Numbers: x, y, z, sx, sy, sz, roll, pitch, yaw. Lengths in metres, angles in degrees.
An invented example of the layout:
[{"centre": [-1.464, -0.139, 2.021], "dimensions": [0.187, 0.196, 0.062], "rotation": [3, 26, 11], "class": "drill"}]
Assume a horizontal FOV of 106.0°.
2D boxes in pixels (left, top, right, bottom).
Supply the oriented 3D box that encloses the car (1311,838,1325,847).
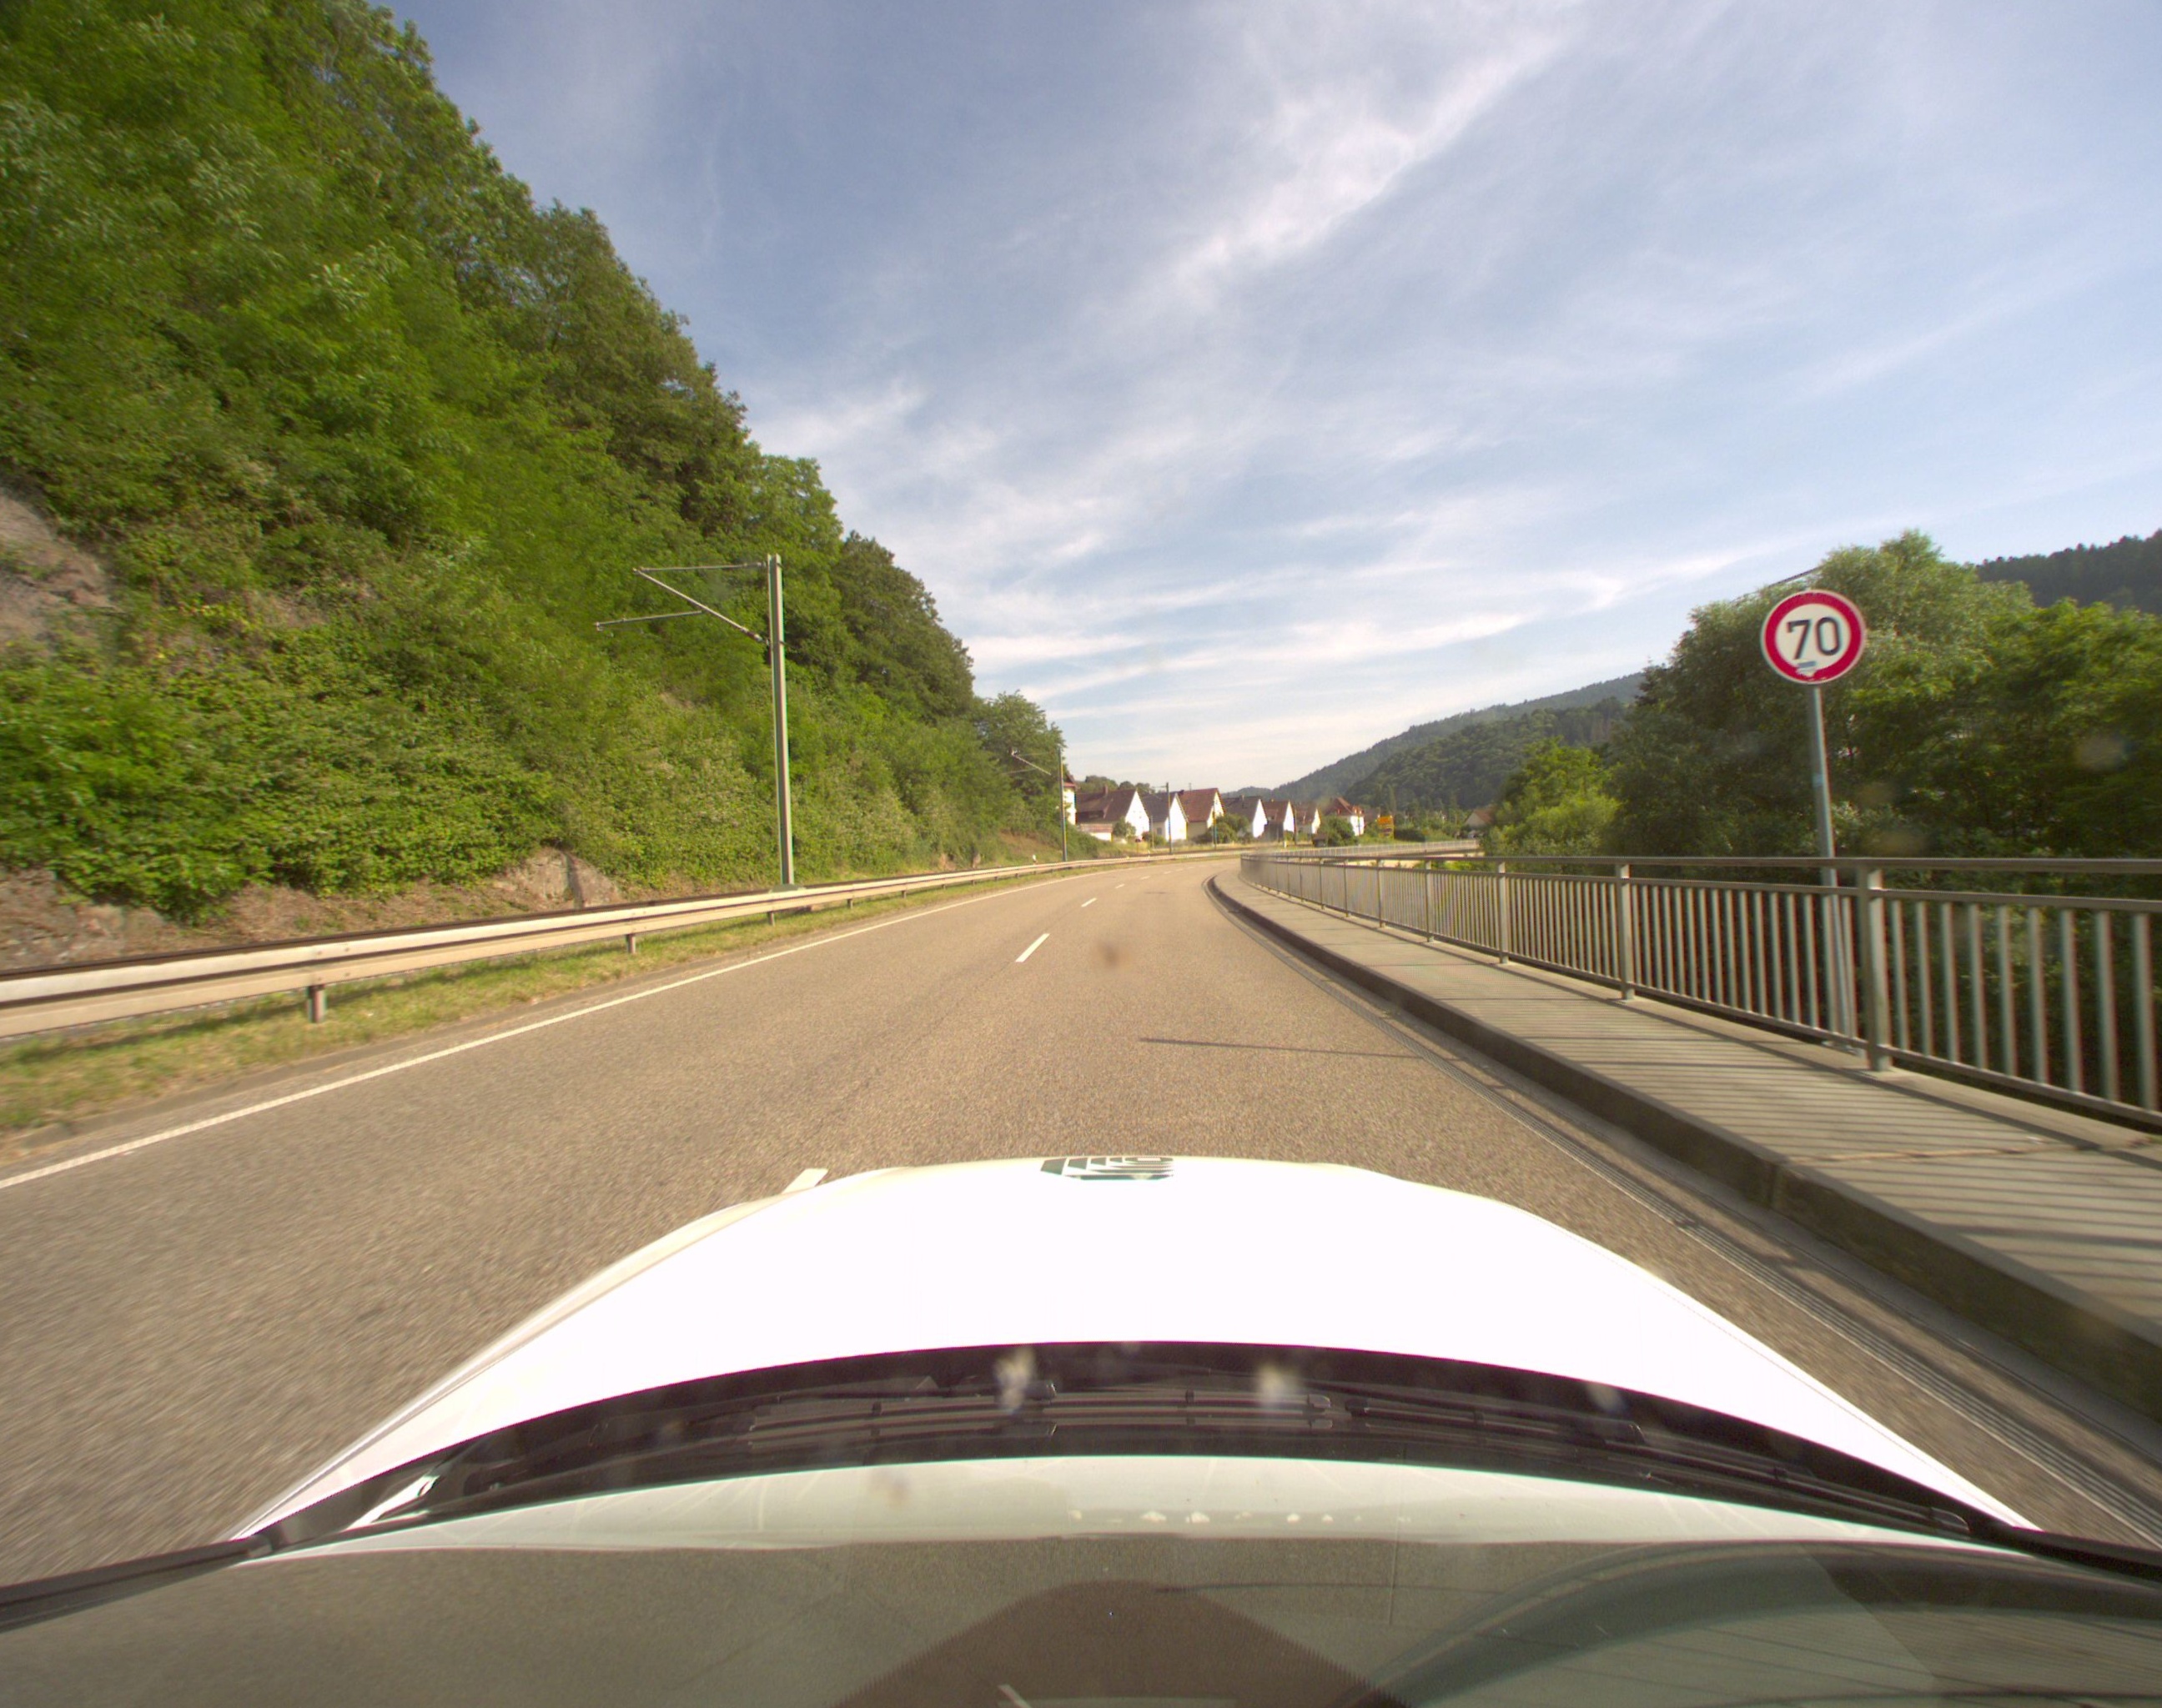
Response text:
[{"centre": [53.814, -2.554, 184.938], "dimensions": [1.975, 1.881, 4.025], "rotation": [6, 3, 30], "class": "car"}]
